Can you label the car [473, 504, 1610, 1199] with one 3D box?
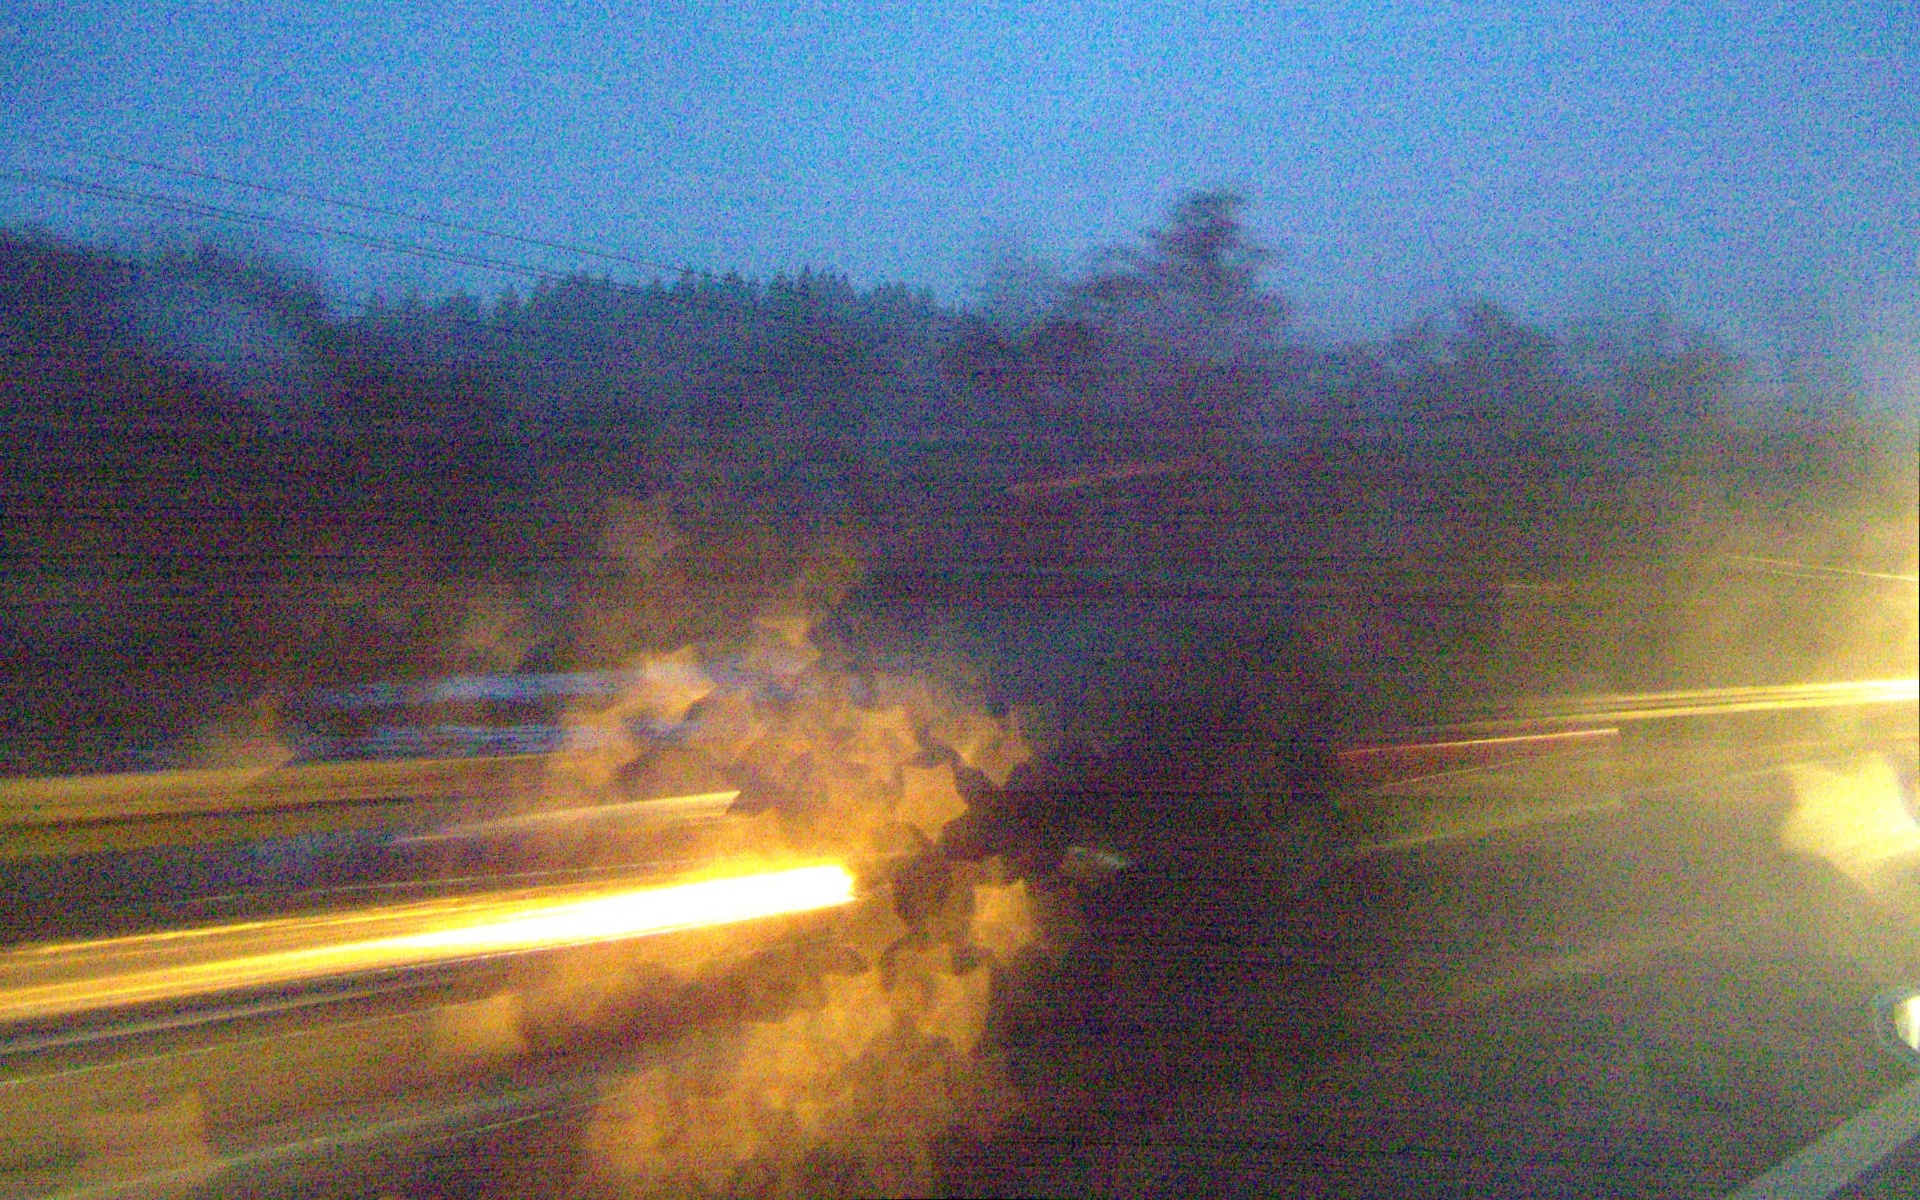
[{"bbox_3d":[0.470,0.670,3.719,3.956,1.634,1.713,1,-1,-31],"label":"car"}]
